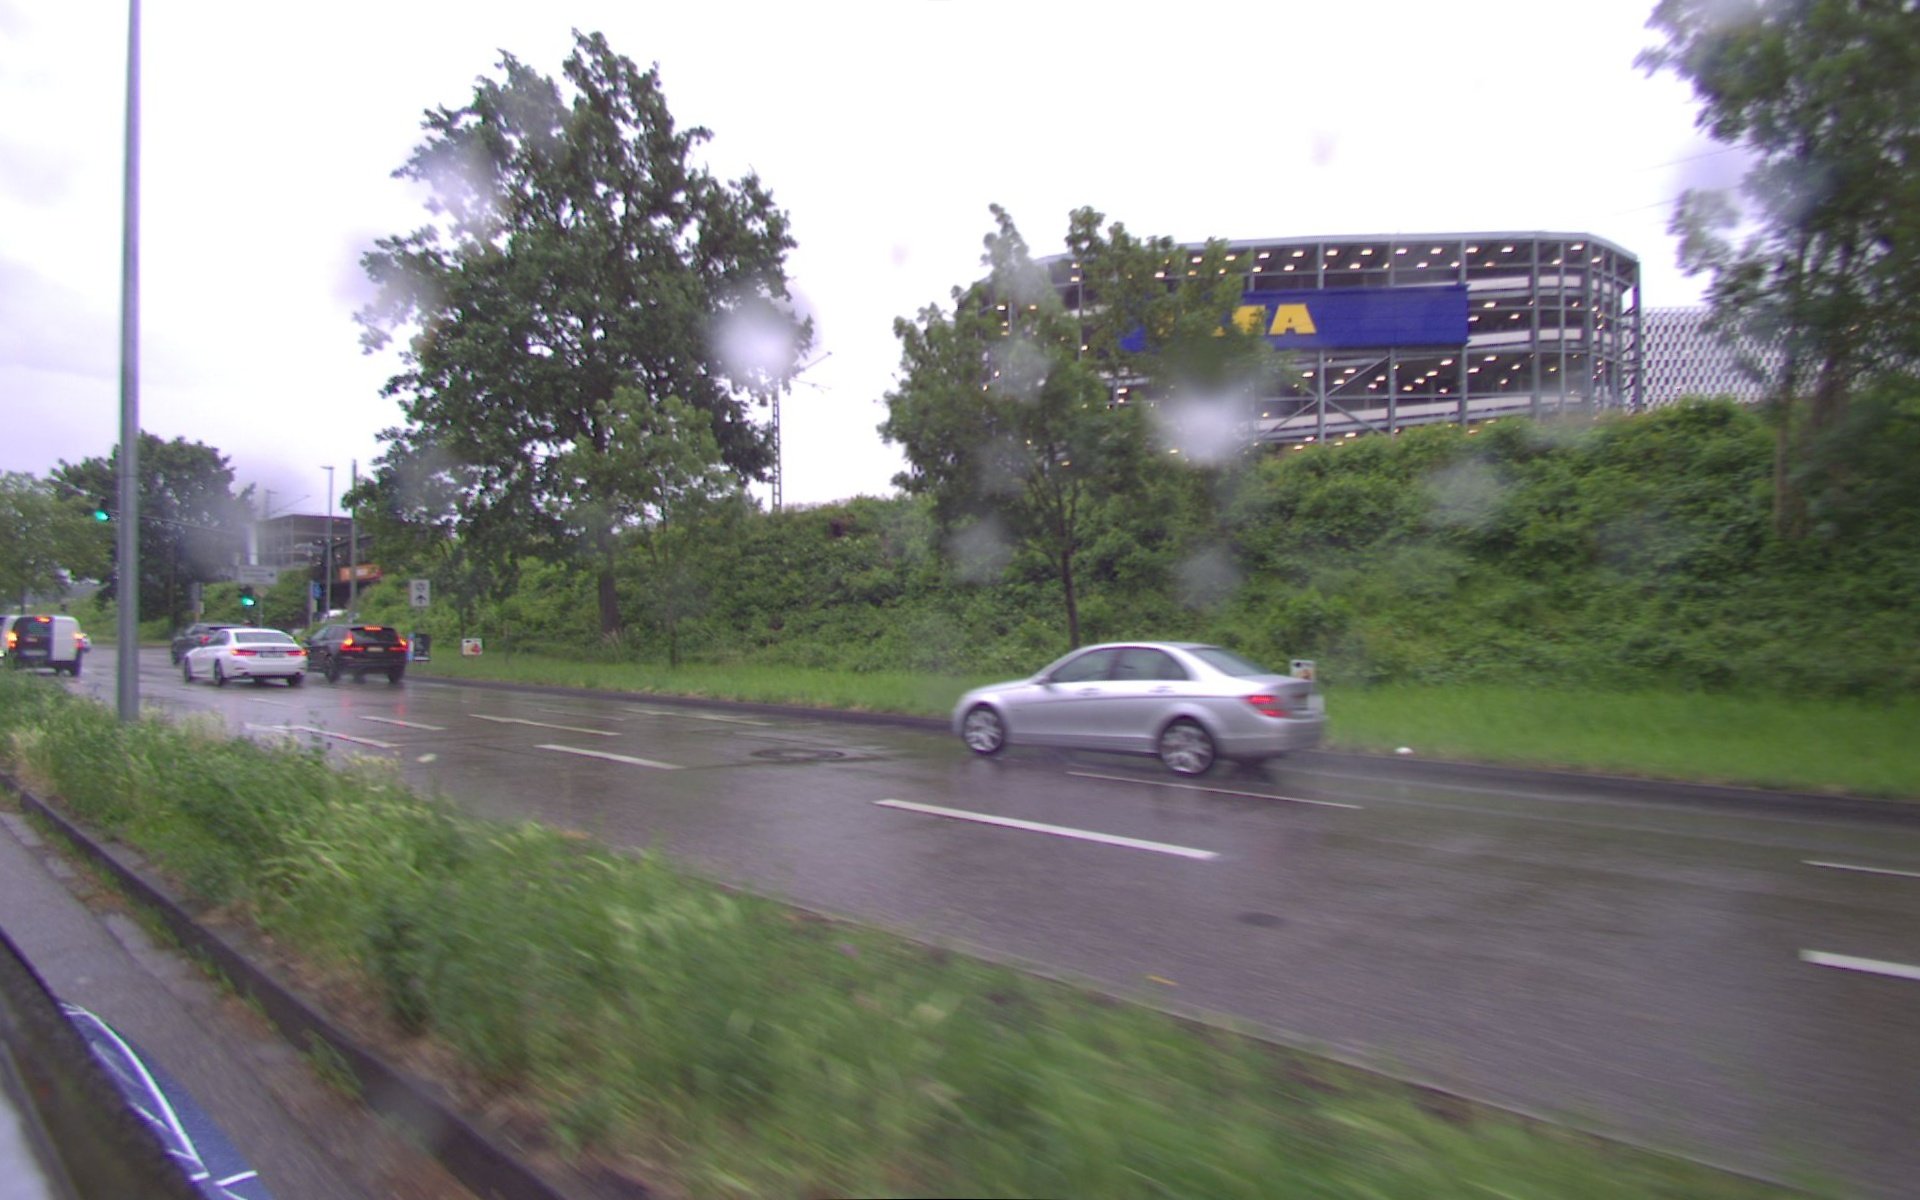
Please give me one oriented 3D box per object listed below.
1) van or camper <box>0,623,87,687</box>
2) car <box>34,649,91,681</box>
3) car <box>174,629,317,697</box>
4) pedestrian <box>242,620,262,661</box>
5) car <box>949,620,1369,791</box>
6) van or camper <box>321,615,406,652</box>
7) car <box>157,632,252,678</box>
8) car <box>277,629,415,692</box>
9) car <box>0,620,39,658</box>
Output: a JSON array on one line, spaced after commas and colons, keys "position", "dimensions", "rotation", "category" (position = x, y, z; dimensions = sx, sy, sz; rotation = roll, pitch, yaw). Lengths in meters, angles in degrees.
[{"position": [-27.107, 1.594, 29.573], "dimensions": [3.996, 1.755, 1.711], "rotation": [-2, -4, 40], "category": "van or camper"}, {"position": [-47.058, 3.381, 53.048], "dimensions": [3.784, 1.555, 1.655], "rotation": [-2, -4, 40], "category": "car"}, {"position": [-18.664, 1.602, 26.354], "dimensions": [4.708, 1.625, 1.879], "rotation": [-2, -4, 40], "category": "car"}, {"position": [-31.455, 1.811, 44.954], "dimensions": [0.625, 1.801, 0.480], "rotation": [-1, -2, 33], "category": "pedestrian"}, {"position": [2.176, 1.082, 11.811], "dimensions": [4.474, 1.625, 1.879], "rotation": [-2, -3, 40], "category": "car"}, {"position": [-45.450, 2.555, 77.353], "dimensions": [1.975, 2.682, 6.917], "rotation": [0, -2, 5], "category": "van or camper"}, {"position": [-28.623, 2.049, 38.309], "dimensions": [4.402, 1.625, 1.879], "rotation": [-2, -3, 40], "category": "car"}, {"position": [-17.862, 1.708, 29.373], "dimensions": [4.674, 1.673, 2.017], "rotation": [-2, -3, 40], "category": "car"}, {"position": [-42.001, 1.710, 44.534], "dimensions": [3.772, 1.573, 1.757], "rotation": [-2, -1, 41], "category": "car"}]
